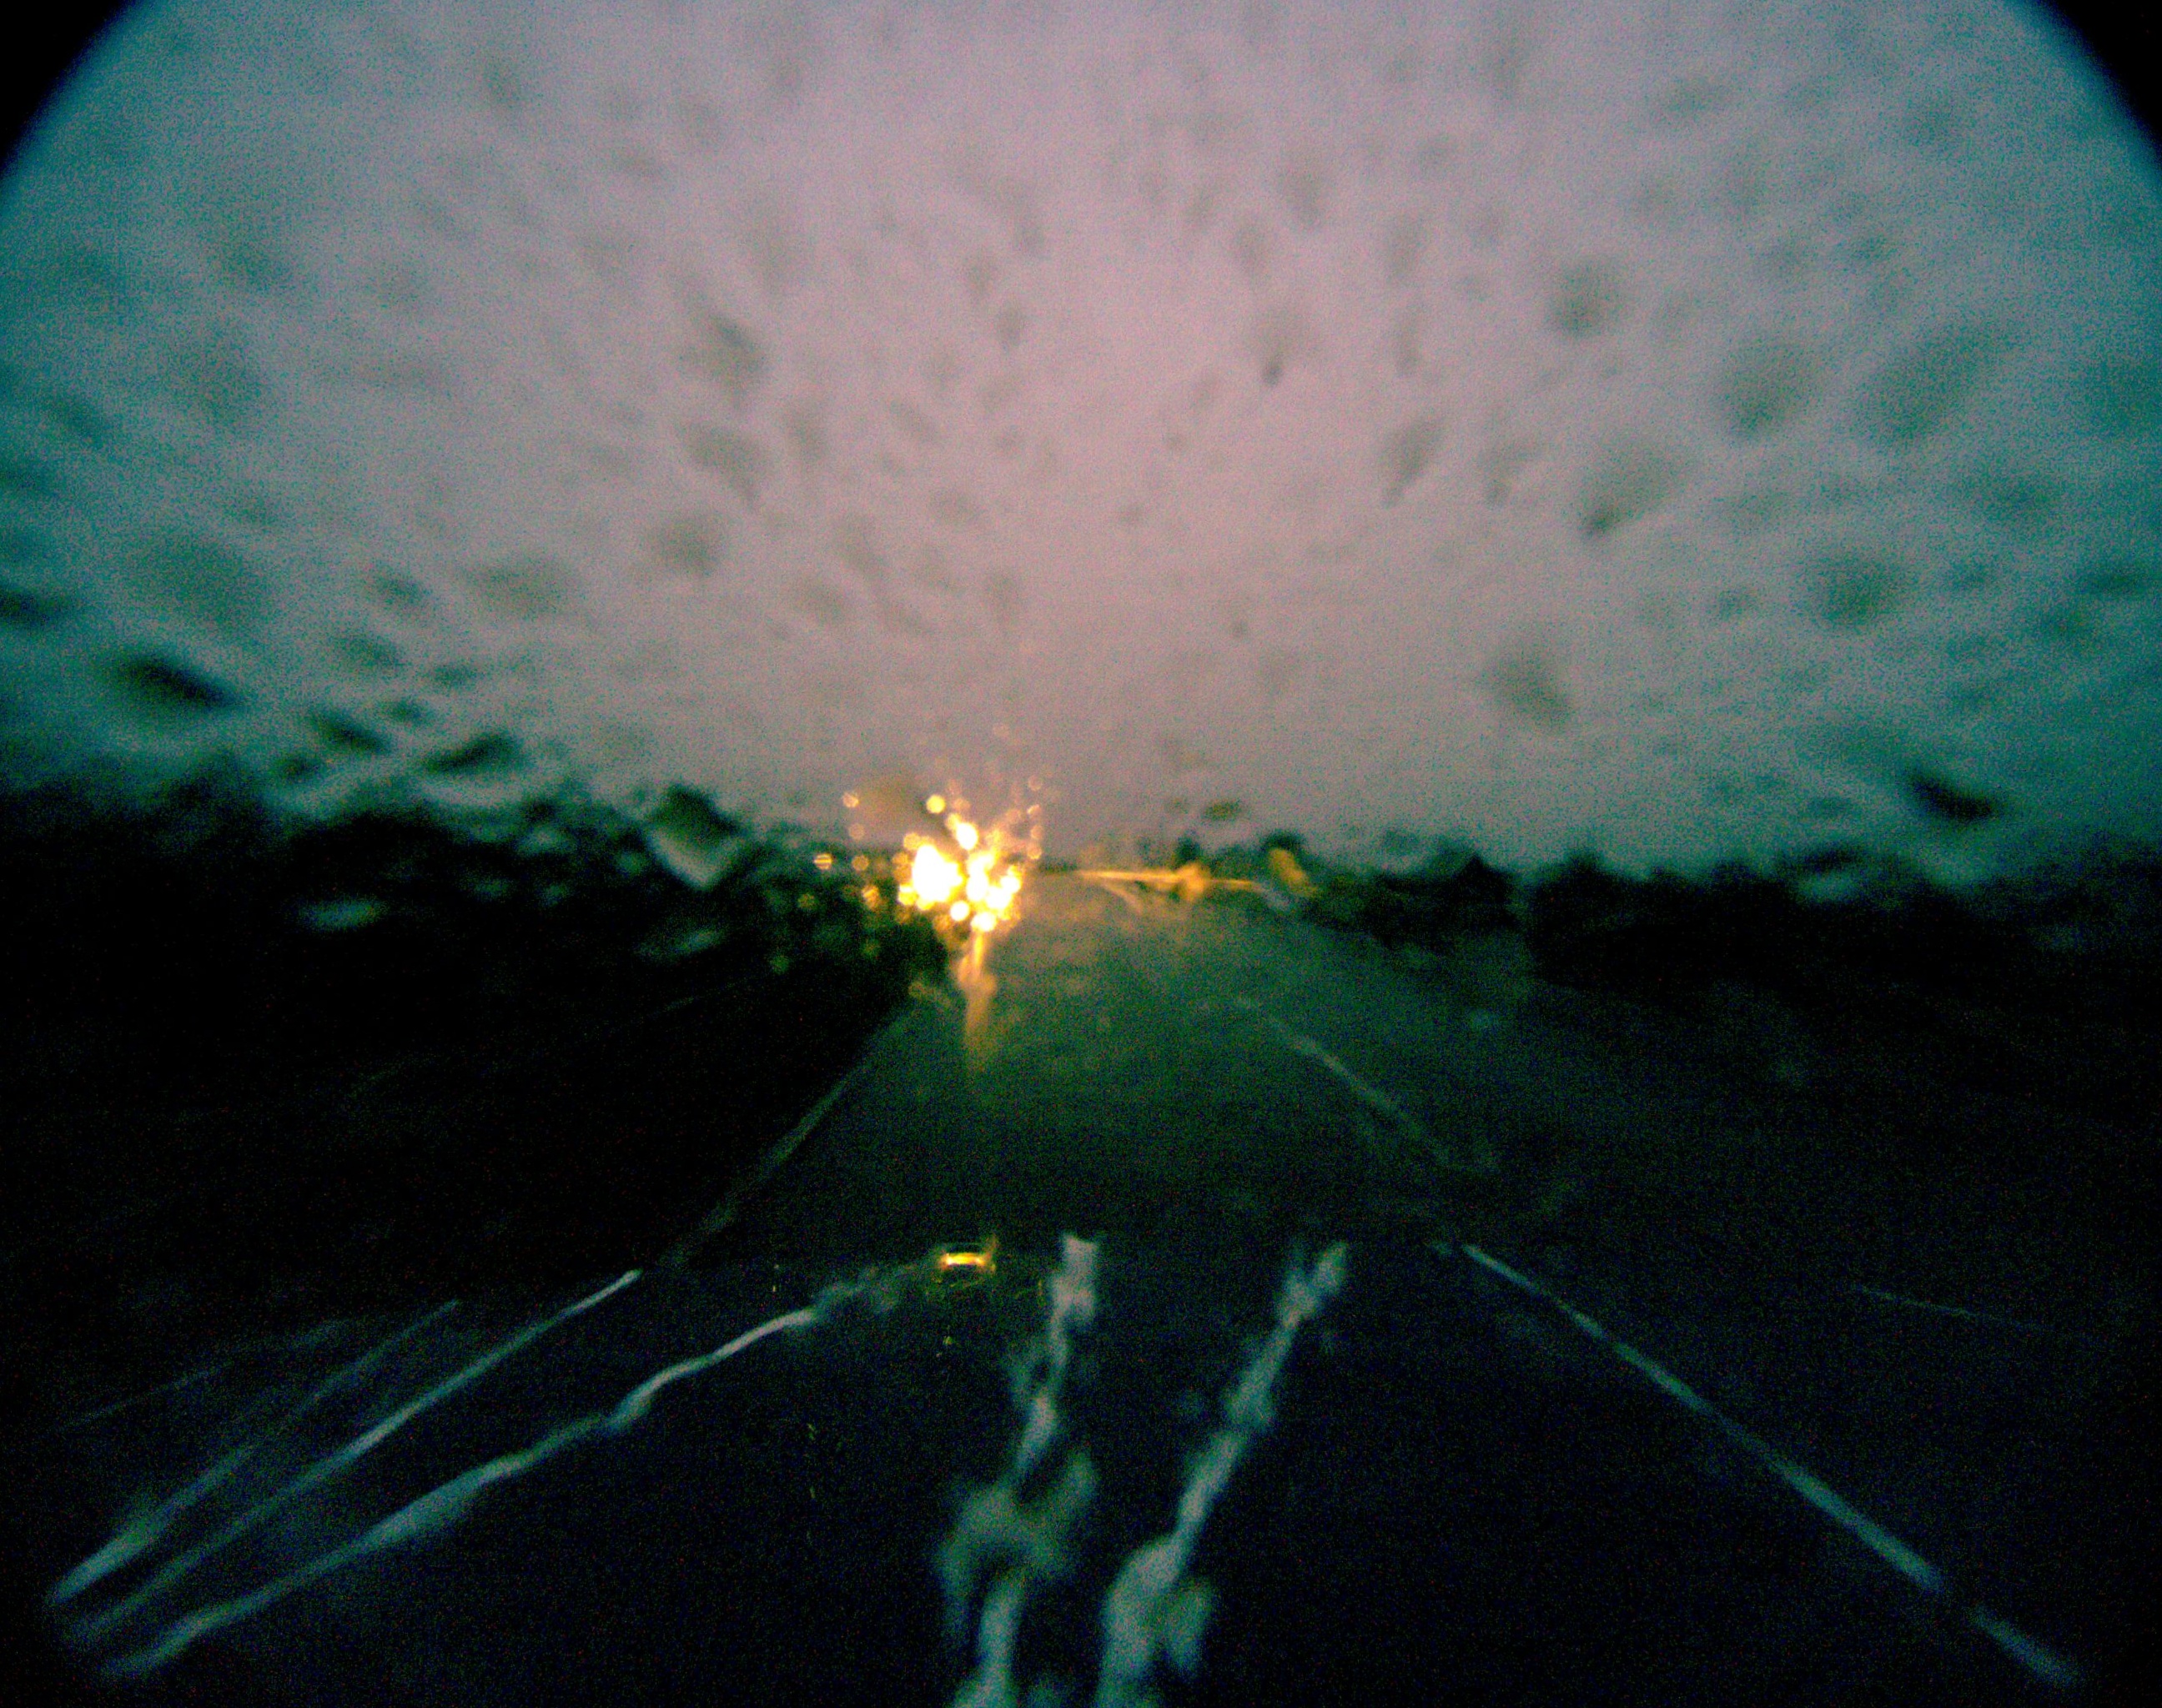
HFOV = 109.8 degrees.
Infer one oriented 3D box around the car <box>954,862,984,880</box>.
[{"bbox_3d":[-10.326,1.536,69.708,2.105,1.565,4.794,1,-2,-15],"label":"car"}]
